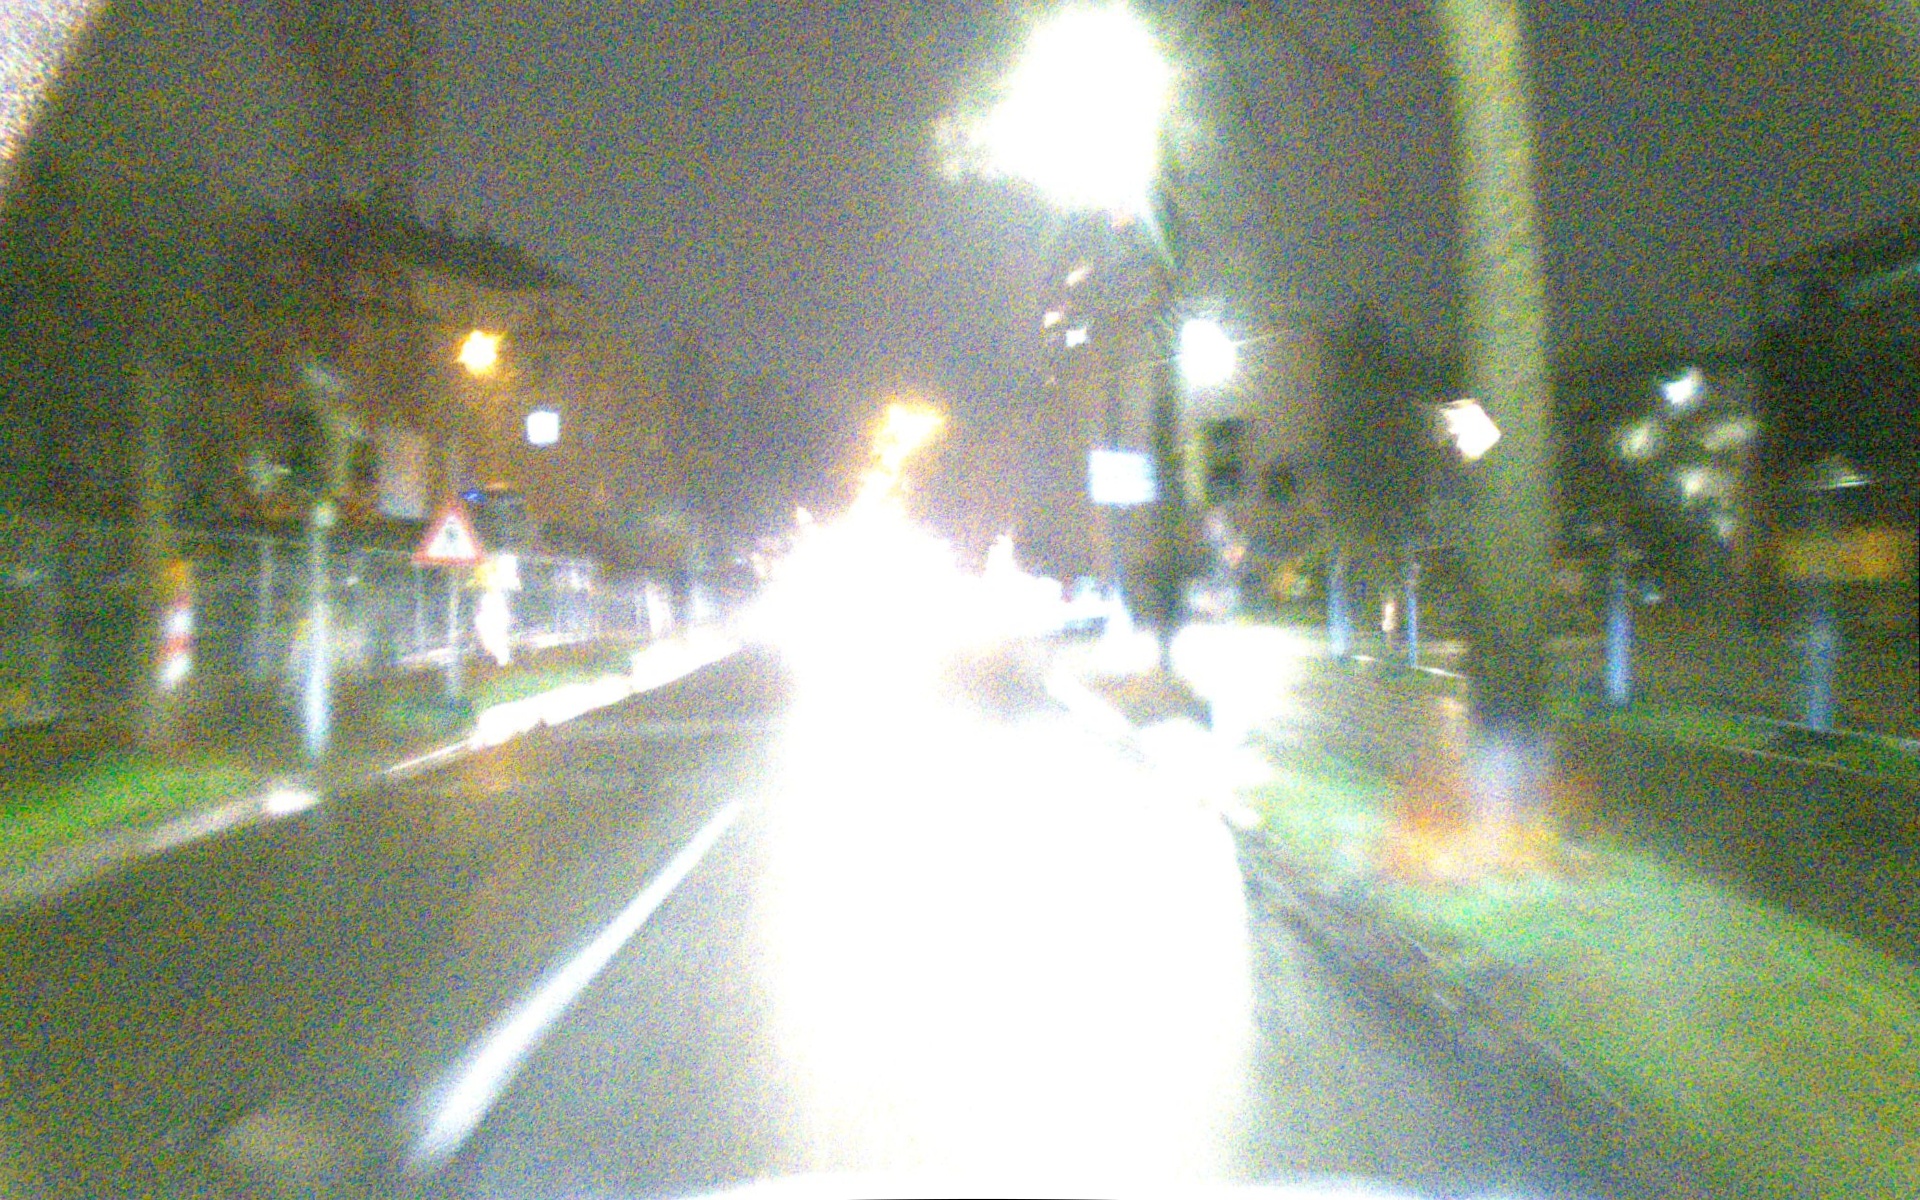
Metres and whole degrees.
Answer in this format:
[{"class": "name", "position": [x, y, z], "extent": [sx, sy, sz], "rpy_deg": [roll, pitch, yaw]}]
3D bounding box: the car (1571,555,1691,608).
[{"class": "car", "position": [19.917, -0.564, 49.286], "extent": [1.789, 1.493, 4.258], "rpy_deg": [0, 1, -1]}]

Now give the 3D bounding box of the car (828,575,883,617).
[{"class": "car", "position": [-3.814, -0.178, 60.939], "extent": [1.709, 1.458, 4.000], "rpy_deg": [-2, 1, 0]}]

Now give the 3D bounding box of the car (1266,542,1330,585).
[{"class": "car", "position": [12.324, -1.358, 60.526], "extent": [1.531, 1.494, 3.407], "rpy_deg": [-2, 2, -2]}]

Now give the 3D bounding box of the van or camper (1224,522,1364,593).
[{"class": "van or camper", "position": [12.961, -1.668, 64.364], "extent": [4.959, 2.571, 2.172], "rpy_deg": [-2, 2, 0]}]

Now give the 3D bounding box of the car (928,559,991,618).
[{"class": "car", "position": [-0.049, -0.412, 53.823], "extent": [1.953, 1.713, 4.001], "rpy_deg": [-1, 3, -1]}]

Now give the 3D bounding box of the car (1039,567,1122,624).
[{"class": "car", "position": [3.527, -0.172, 49.248], "extent": [1.754, 1.474, 4.787], "rpy_deg": [-3, 2, -4]}]

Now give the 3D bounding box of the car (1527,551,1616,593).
[{"class": "car", "position": [22.336, -1.063, 60.563], "extent": [1.644, 1.438, 4.261], "rpy_deg": [-2, 2, 0]}]

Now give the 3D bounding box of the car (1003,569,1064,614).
[{"class": "car", "position": [2.651, -0.343, 60.302], "extent": [1.679, 1.514, 4.433], "rpy_deg": [-2, 1, -4]}]
